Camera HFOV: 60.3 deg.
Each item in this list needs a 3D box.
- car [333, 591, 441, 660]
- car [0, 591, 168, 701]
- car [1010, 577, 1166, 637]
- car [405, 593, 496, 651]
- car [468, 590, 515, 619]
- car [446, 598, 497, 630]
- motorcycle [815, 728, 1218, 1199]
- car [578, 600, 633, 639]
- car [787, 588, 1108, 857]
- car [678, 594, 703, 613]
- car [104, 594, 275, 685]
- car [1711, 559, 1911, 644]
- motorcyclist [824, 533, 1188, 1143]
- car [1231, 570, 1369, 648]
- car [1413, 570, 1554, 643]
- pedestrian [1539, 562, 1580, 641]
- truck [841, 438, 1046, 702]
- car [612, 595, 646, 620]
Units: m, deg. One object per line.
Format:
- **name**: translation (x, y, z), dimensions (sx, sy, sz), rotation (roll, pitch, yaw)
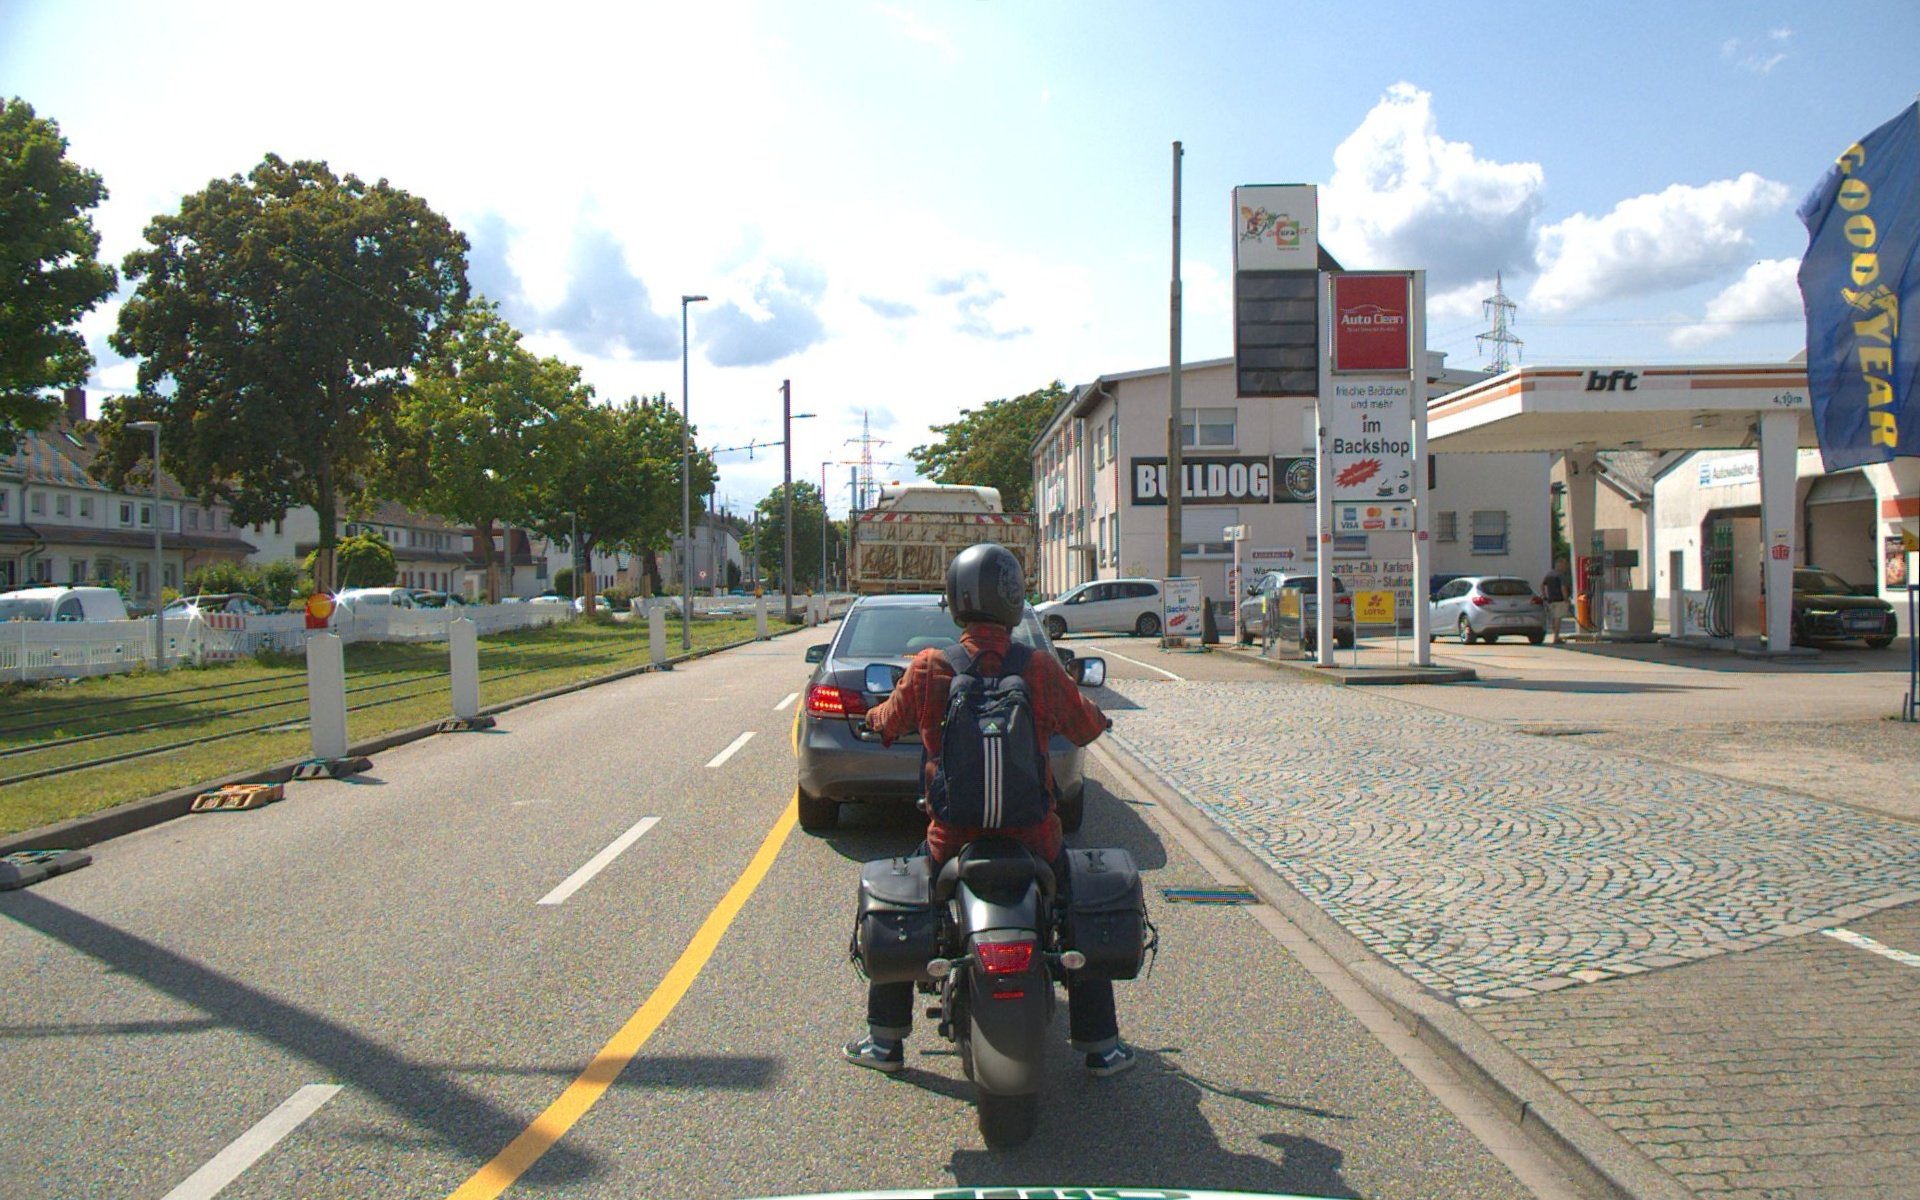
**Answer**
- **car**: translation (-16.938, 0.712, 49.084), dimensions (1.740, 1.900, 4.127), rotation (-1, 0, -1)
- **car**: translation (-16.466, 0.780, 30.391), dimensions (1.740, 1.853, 4.363), rotation (-1, 0, -1)
- **car**: translation (3.615, 0.182, 47.079), dimensions (4.152, 1.570, 1.669), rotation (-1, 0, -9)
- **car**: translation (-16.970, 0.696, 55.263), dimensions (1.740, 1.837, 4.127), rotation (-1, 0, -1)
- **car**: translation (-29.418, 0.274, 103.956), dimensions (1.740, 1.753, 4.127), rotation (-1, 0, -1)
- **car**: translation (-28.292, 0.776, 95.838), dimensions (1.740, 1.753, 4.127), rotation (-1, 0, -1)
- **motorcycle**: translation (0.120, 0.992, 5.324), dimensions (0.959, 0.913, 2.653), rotation (-1, 0, -1)
- **car**: translation (-17.050, 0.908, 79.687), dimensions (1.740, 1.753, 4.127), rotation (-1, 0, -1)
- **car**: translation (-0.098, 0.677, 11.316), dimensions (1.786, 1.478, 3.999), rotation (1, 0, -1)
- **car**: translation (-26.063, 0.286, 160.262), dimensions (1.740, 1.753, 4.250), rotation (-1, 0, -1)
- **car**: translation (-16.673, 0.809, 36.028), dimensions (1.740, 1.805, 4.227), rotation (-1, 0, -1)
- **car**: translation (16.406, 0.011, 32.092), dimensions (1.770, 1.529, 3.832), rotation (-1, 0, -3)
- **motorcyclist**: translation (0.118, 0.637, 5.018), dimensions (0.959, 1.630, 1.087), rotation (-1, 0, -1)
- **car**: translation (7.458, 0.174, 36.630), dimensions (1.636, 1.589, 4.236), rotation (-1, 0, -8)
- **car**: translation (11.722, 0.118, 37.265), dimensions (1.770, 1.529, 3.831), rotation (-1, 0, -3)
- **pedestrian**: translation (12.954, 0.029, 35.711), dimensions (0.696, 1.685, 0.546), rotation (-1, 0, 35)
- **truck**: translation (-0.264, -0.427, 25.366), dimensions (2.585, 3.354, 8.055), rotation (-1, 0, -1)
- **car**: translation (-24.954, 0.548, 124.855), dimensions (1.740, 1.753, 4.127), rotation (-1, 0, -1)
